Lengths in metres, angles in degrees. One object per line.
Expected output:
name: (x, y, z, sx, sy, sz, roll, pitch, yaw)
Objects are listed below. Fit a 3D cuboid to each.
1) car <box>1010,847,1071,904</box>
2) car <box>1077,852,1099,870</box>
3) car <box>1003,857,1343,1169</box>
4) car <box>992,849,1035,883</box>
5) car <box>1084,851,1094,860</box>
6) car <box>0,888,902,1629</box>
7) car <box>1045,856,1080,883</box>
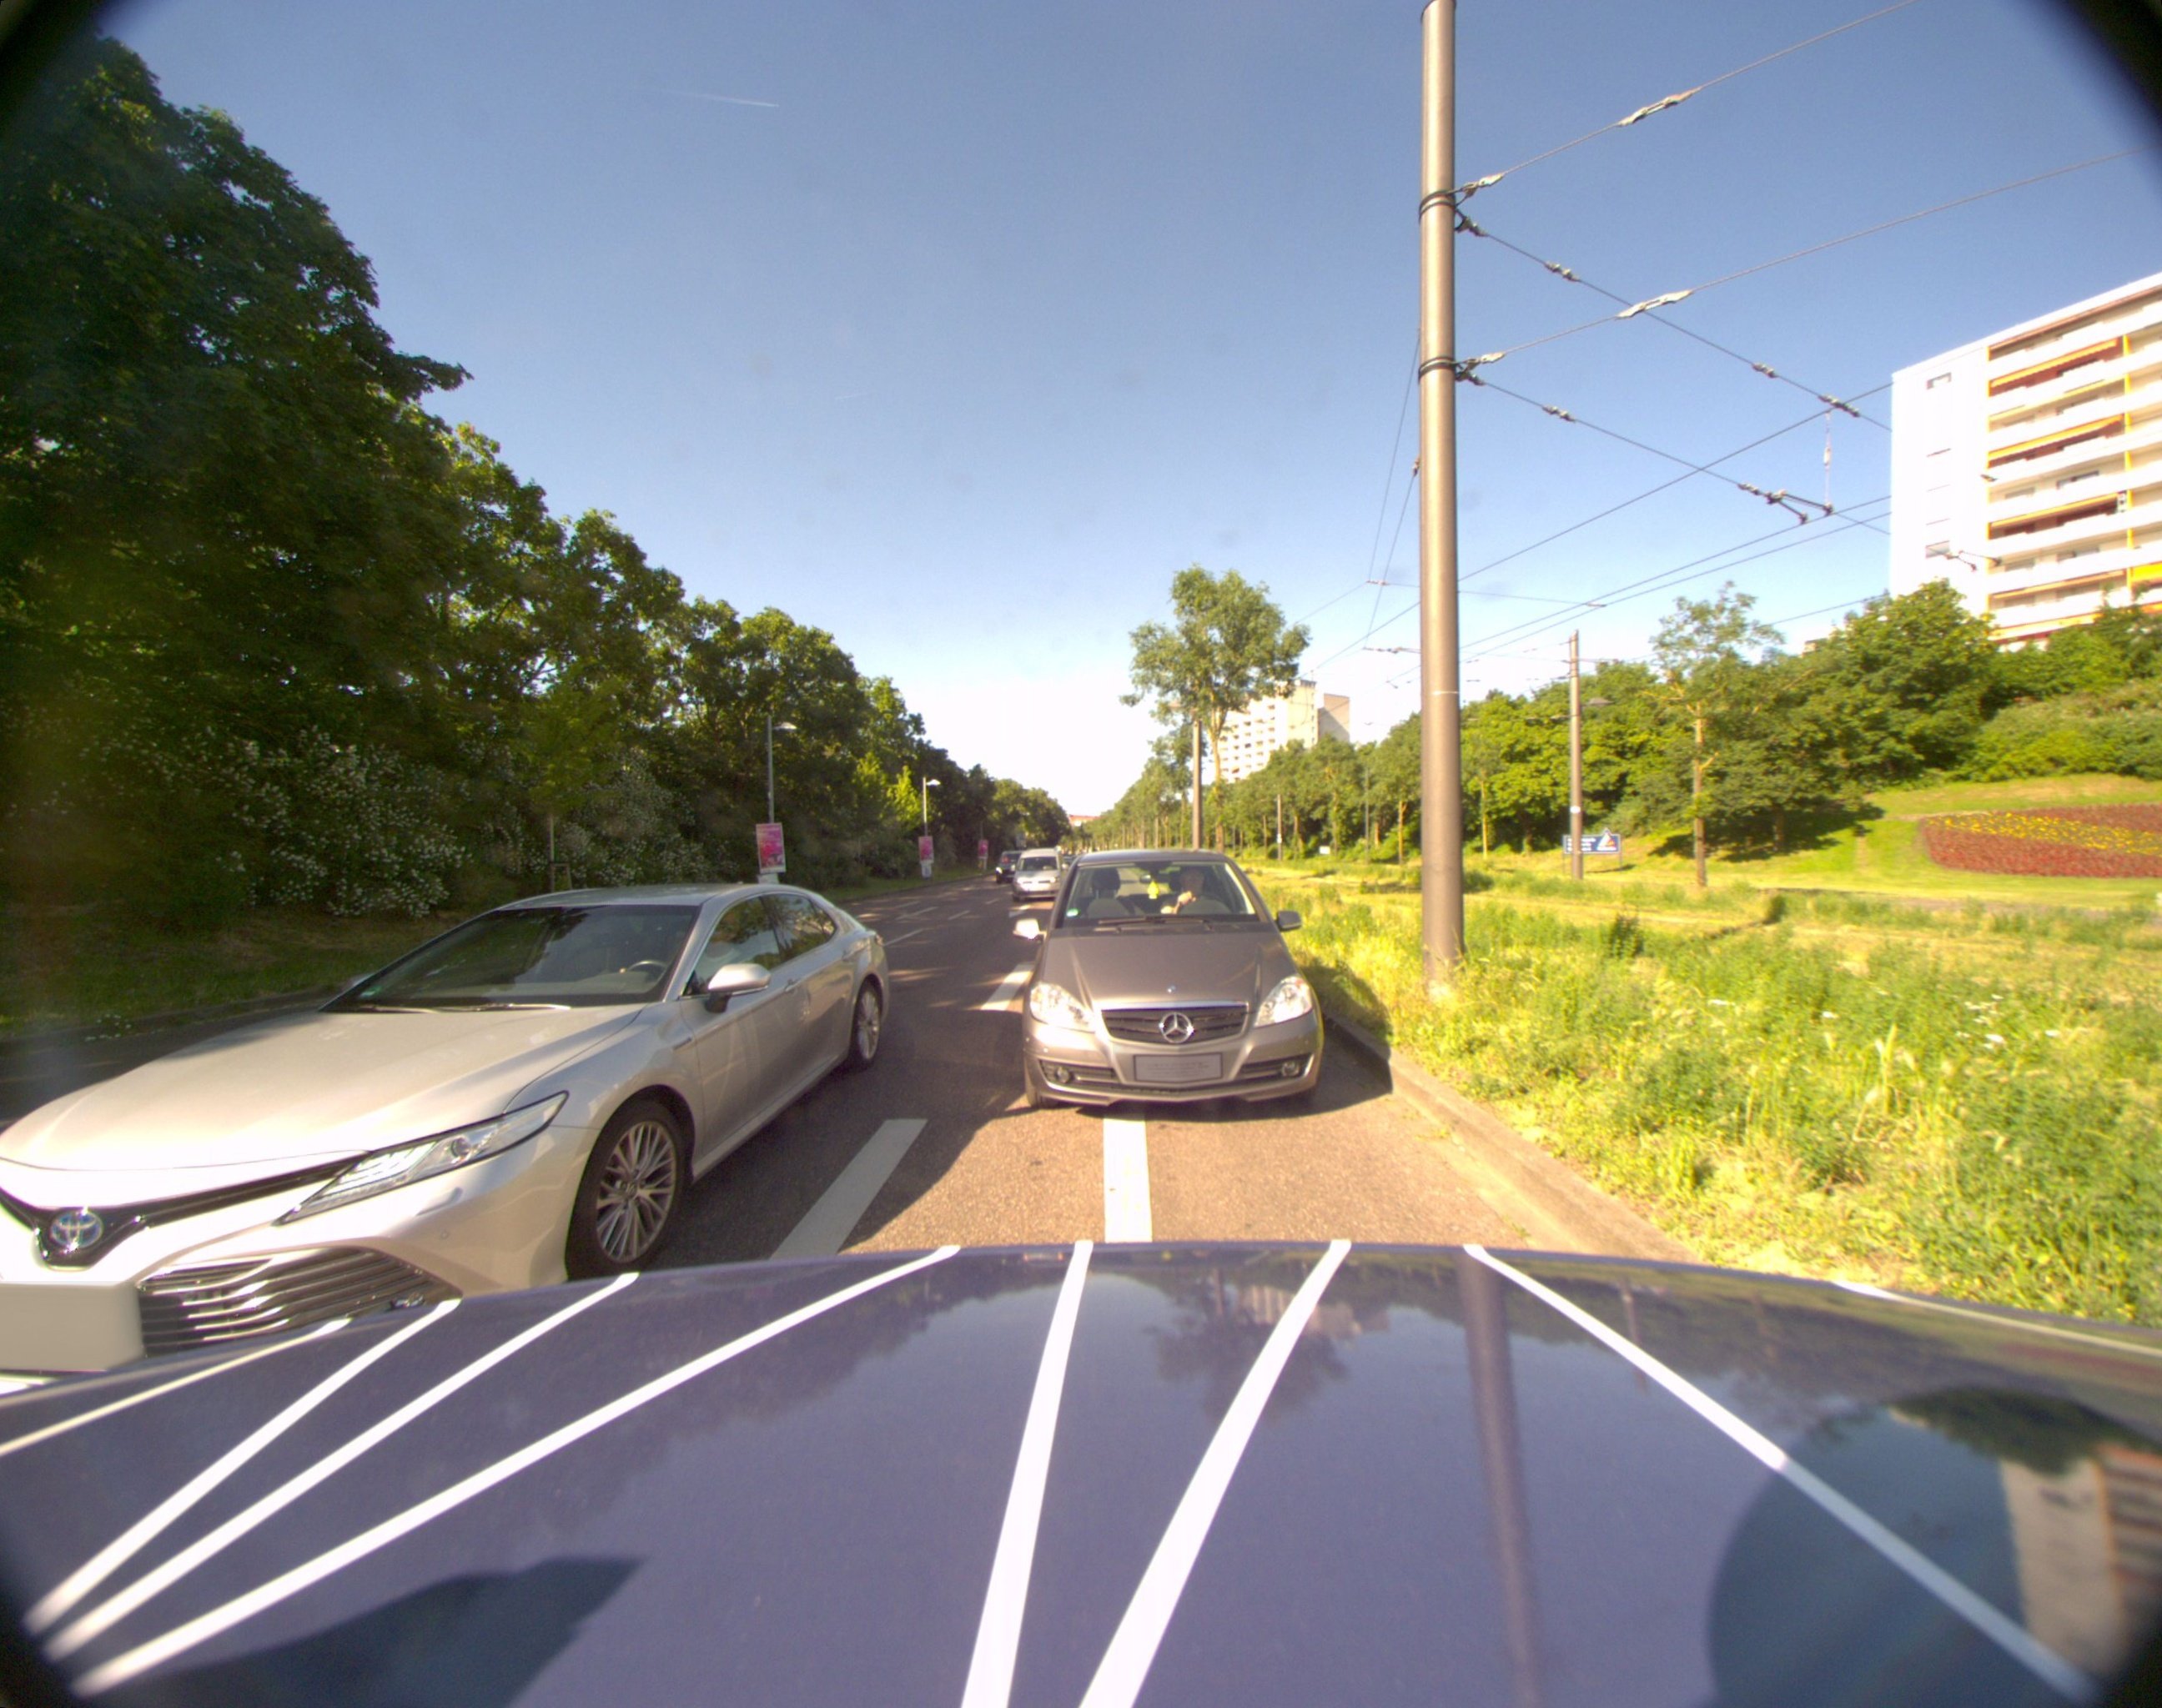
car: (-1.383, 0.701, 27.670, 1.822, 1.893, 4.622, -1, 0, 2)
car: (0.599, 0.554, 63.336, 1.776, 1.395, 4.067, -1, 0, 2)
car: (0.515, 0.851, 6.204, 1.777, 1.597, 4.384, -1, 0, 1)
car: (-3.969, 0.676, 45.481, 1.998, 1.882, 5.148, -1, 0, 1)
car: (1.589, 0.270, 150.004, 1.777, 1.597, 4.384, -1, 0, 1)
car: (-2.645, 1.044, 4.120, 2.069, 1.451, 4.749, -1, 0, 2)
car: (-0.991, 0.837, 43.468, 1.776, 1.395, 4.067, -1, 0, 2)
